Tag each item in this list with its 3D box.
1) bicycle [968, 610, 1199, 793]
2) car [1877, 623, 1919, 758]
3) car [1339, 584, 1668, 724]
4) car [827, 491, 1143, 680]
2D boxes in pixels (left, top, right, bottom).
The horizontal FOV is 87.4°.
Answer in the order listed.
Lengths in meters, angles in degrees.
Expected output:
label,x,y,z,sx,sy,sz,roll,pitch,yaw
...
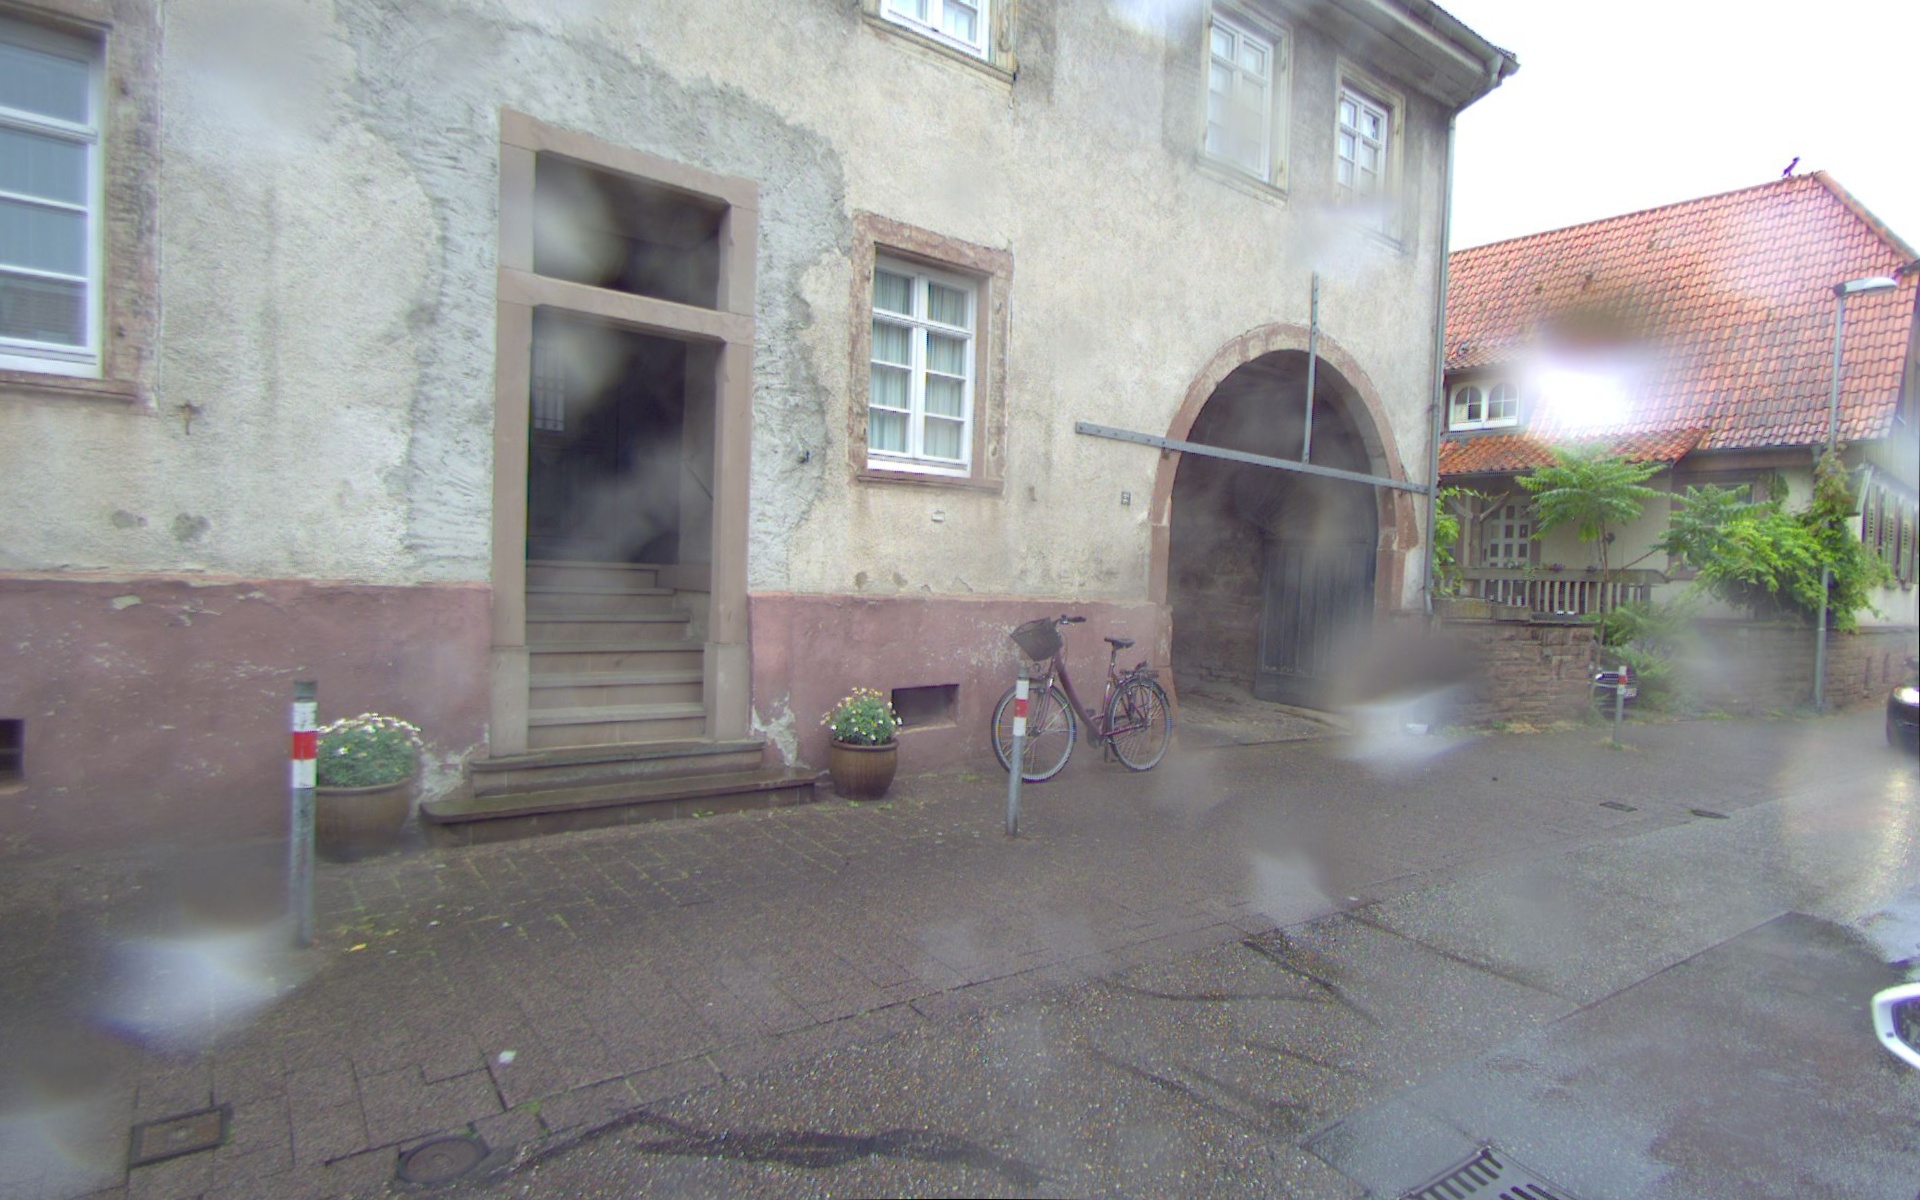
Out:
label,x,y,z,sx,sy,sz,roll,pitch,yaw
bicycle,0.959,0.691,7.455,1.858,1.194,0.478,1,4,-38
car,13.019,1.126,12.373,4.300,1.529,1.684,2,0,-36
car,7.987,0.706,15.165,1.715,1.444,3.967,2,5,-30
car,0.158,-0.301,13.529,1.869,1.957,4.194,6,3,-37
